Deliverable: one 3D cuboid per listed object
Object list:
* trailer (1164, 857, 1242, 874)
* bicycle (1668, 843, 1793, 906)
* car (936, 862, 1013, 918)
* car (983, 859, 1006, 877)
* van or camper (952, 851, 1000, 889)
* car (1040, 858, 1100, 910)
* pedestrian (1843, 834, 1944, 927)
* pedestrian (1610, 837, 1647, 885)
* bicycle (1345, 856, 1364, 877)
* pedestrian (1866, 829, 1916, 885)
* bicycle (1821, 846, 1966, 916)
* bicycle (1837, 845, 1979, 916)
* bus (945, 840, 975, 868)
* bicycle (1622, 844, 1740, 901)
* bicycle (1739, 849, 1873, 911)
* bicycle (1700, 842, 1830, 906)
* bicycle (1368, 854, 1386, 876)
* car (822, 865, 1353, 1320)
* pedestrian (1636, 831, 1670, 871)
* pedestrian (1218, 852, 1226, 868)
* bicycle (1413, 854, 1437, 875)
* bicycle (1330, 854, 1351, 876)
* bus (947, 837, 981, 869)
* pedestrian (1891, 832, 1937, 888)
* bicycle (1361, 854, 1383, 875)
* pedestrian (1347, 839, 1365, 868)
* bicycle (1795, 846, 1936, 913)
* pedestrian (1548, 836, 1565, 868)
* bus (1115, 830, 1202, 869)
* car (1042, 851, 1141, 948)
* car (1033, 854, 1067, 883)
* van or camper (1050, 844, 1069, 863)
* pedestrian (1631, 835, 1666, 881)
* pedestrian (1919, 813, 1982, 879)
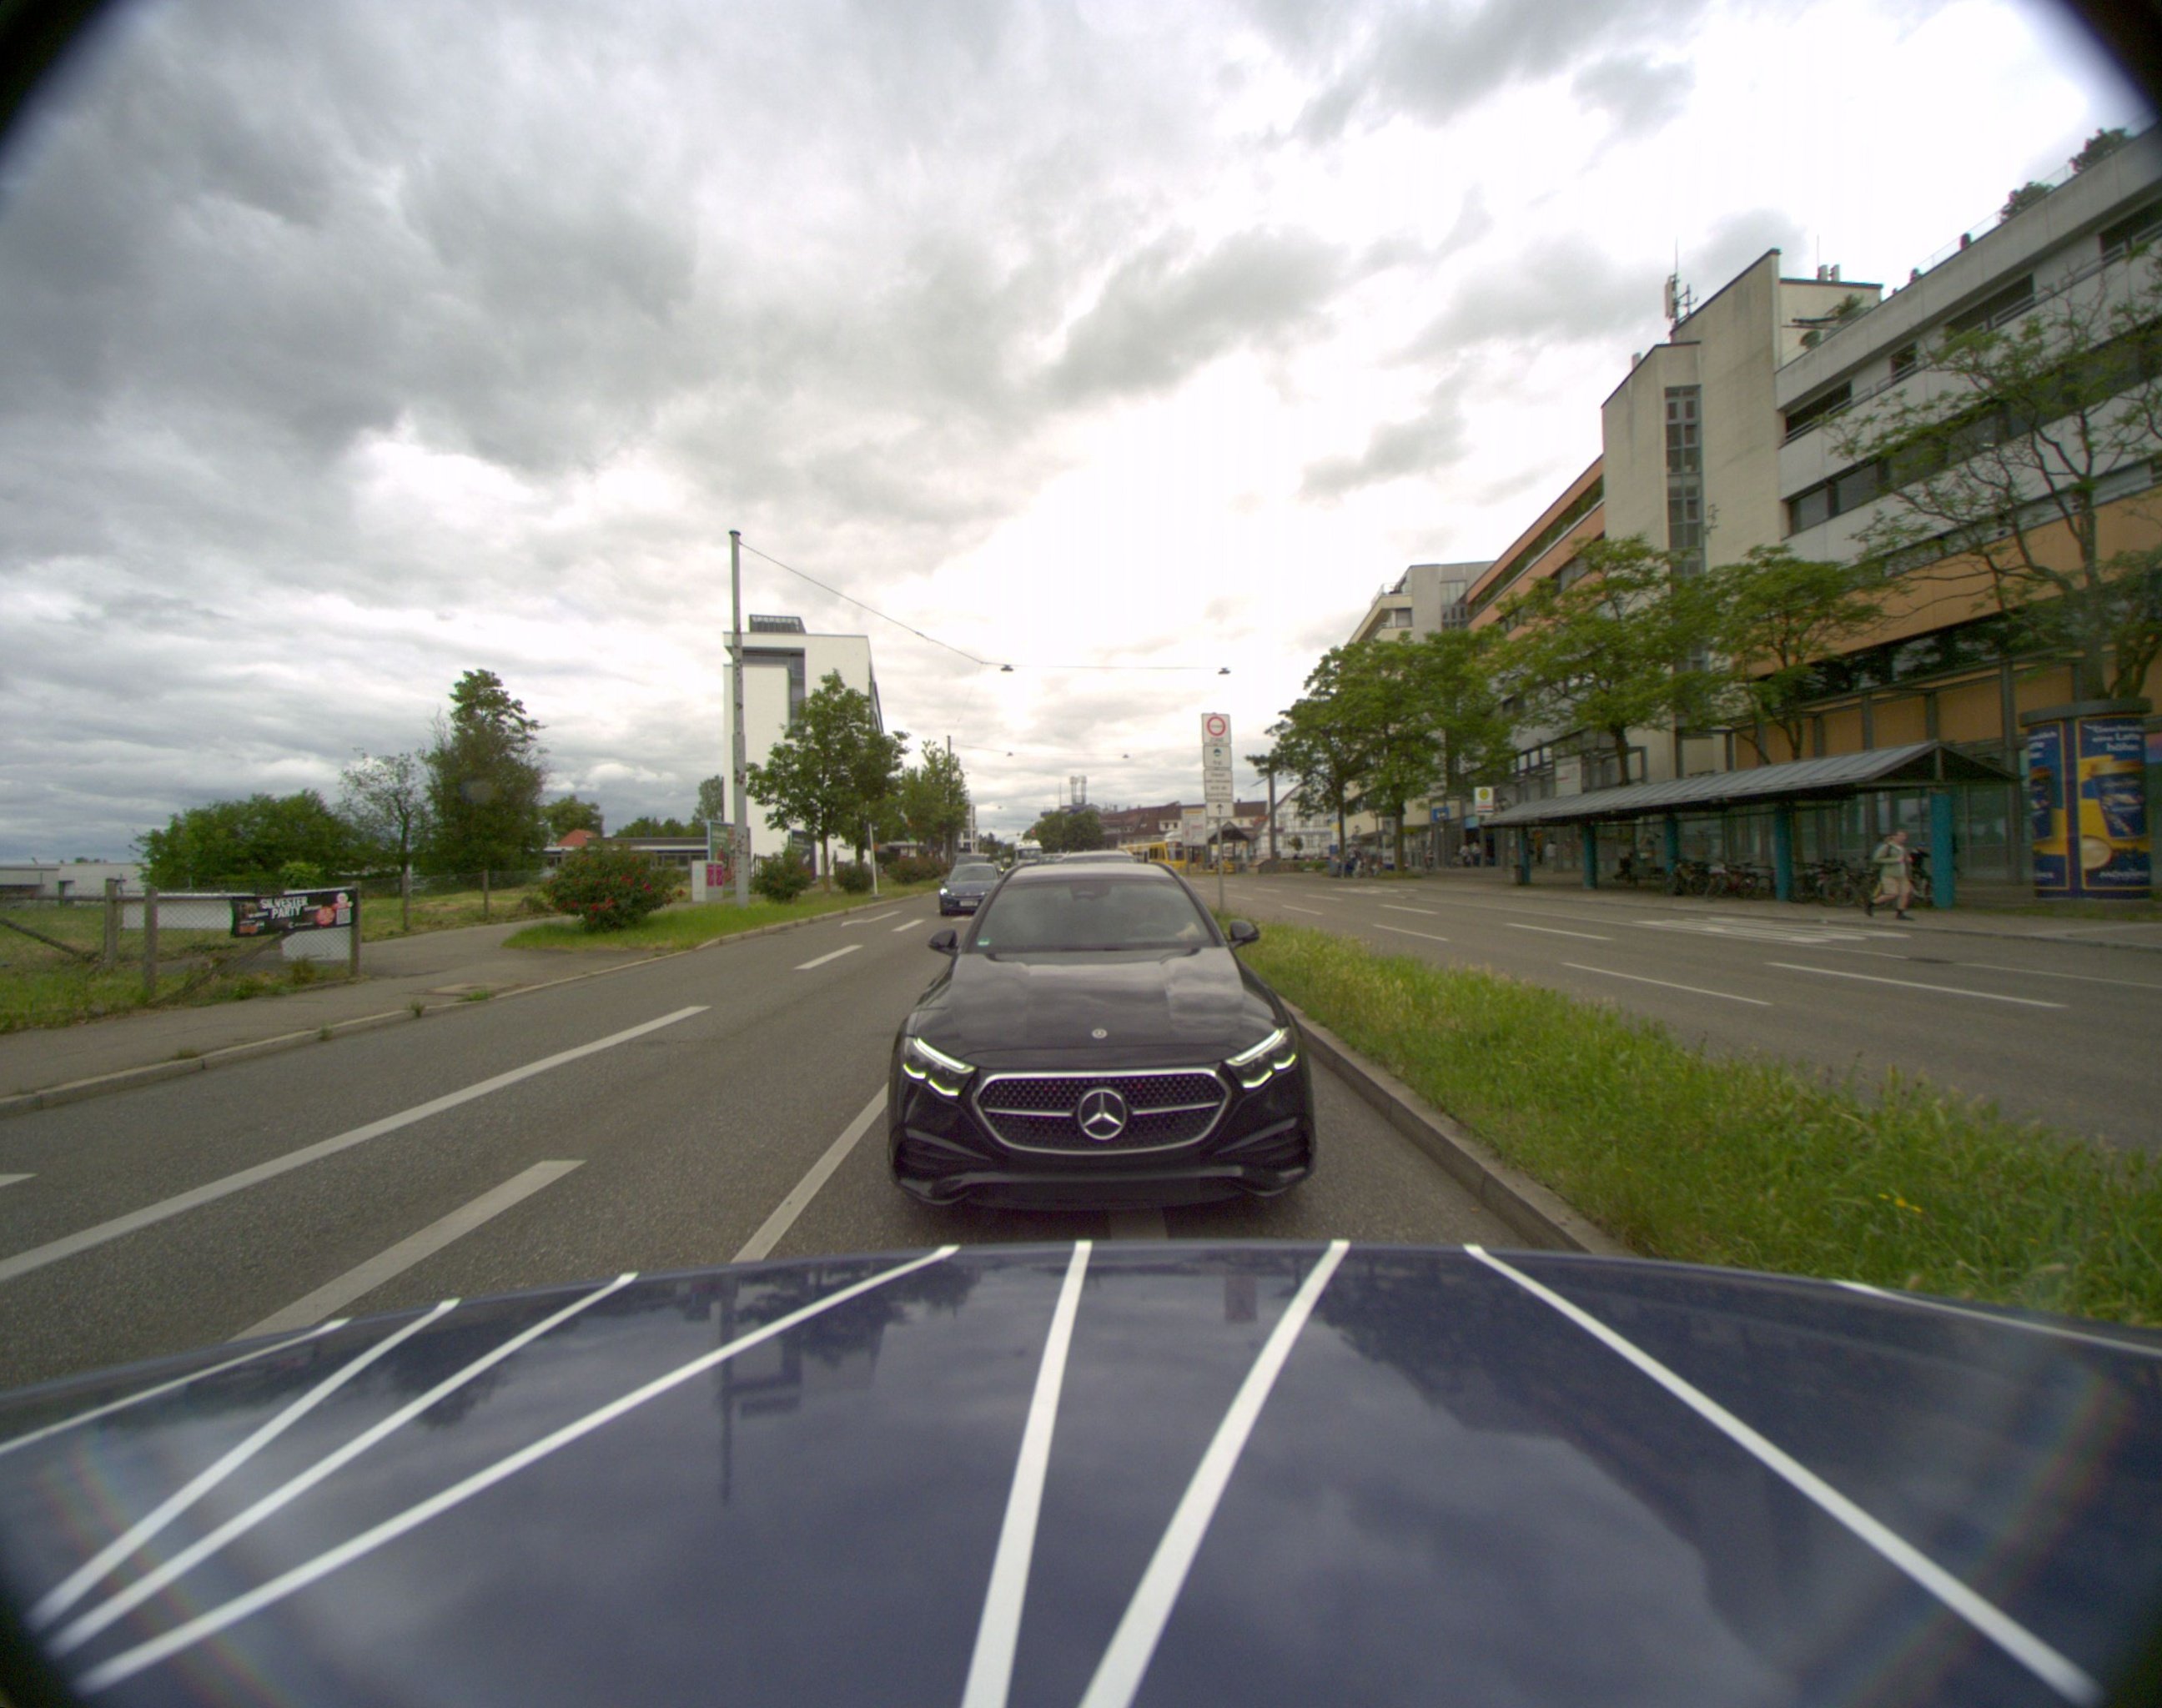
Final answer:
[{"bbox_3d":[10.804,1.061,68.880,2.851,1.325,12.115,-1,-1,-12],"label":"trailer"},{"bbox_3d":[18.008,0.547,21.087,2.908,1.498,0.891,-4,1,-8],"label":"bicycle"},{"bbox_3d":[-3.133,1.019,23.166,1.735,1.474,4.368,-2,0,-1],"label":"car"},{"bbox_3d":[-7.568,1.214,66.027,1.736,1.474,4.365,-2,0,-9],"label":"car"},{"bbox_3d":[-5.479,0.807,40.195,1.809,1.867,4.849,-2,0,0],"label":"van or camper"},{"bbox_3d":[-0.317,0.903,24.751,1.735,1.474,4.369,-2,0,0],"label":"car"},{"bbox_3d":[16.668,0.523,15.626,0.705,1.812,1.213,-3,1,-3],"label":"pedestrian"},{"bbox_3d":[20.035,0.256,27.812,0.777,1.703,0.706,-3,1,-6],"label":"pedestrian"},{"bbox_3d":[15.342,0.670,42.613,0.603,1.154,1.969,-1,-1,32],"label":"bicycle"},{"bbox_3d":[23.805,0.080,22.341,0.668,1.574,0.706,-3,1,-6],"label":"pedestrian"},{"bbox_3d":[18.561,0.598,17.366,2.908,1.498,0.700,-1,0,-8],"label":"bicycle"},{"bbox_3d":[18.596,0.578,17.089,2.908,1.498,0.598,-1,0,-8],"label":"bicycle"},{"bbox_3d":[-14.608,0.081,90.900,3.047,3.216,9.329,-1,-1,-12],"label":"bus"},{"bbox_3d":[17.783,0.530,22.551,2.908,1.498,0.972,-3,0,-8],"label":"bicycle"},{"bbox_3d":[18.313,0.642,19.219,2.908,1.498,0.805,-1,0,-8],"label":"bicycle"},{"bbox_3d":[18.134,0.507,20.170,2.908,1.498,0.811,-3,0,-7],"label":"bicycle"},{"bbox_3d":[16.169,0.593,41.522,0.603,1.154,1.693,-1,-1,31],"label":"bicycle"},{"bbox_3d":[-0.032,0.910,5.214,1.873,1.542,4.773,-4,-1,-2],"label":"car"},{"bbox_3d":[25.230,-0.117,33.522,0.772,1.706,0.789,-3,1,-8],"label":"pedestrian"},{"bbox_3d":[13.817,0.633,74.448,0.601,1.564,0.620,-1,0,-10],"label":"pedestrian"},{"bbox_3d":[19.161,0.563,42.276,0.672,1.154,2.023,-1,-1,39],"label":"bicycle"},{"bbox_3d":[14.800,0.634,43.311,0.603,1.154,1.969,-3,-1,33],"label":"bicycle"},{"bbox_3d":[-12.674,-0.055,81.624,2.993,3.222,9.856,-1,0,-12],"label":"bus"},{"bbox_3d":[24.459,0.161,22.322,0.634,1.591,0.622,-3,0,-5],"label":"pedestrian"},{"bbox_3d":[16.452,0.612,42.962,0.604,1.154,1.966,-1,-1,4],"label":"bicycle"},{"bbox_3d":[18.314,-0.034,50.622,0.747,1.866,0.873,-1,0,-8],"label":"pedestrian"},{"bbox_3d":[18.756,0.591,18.179,2.908,1.498,0.778,-1,0,-8],"label":"bicycle"},{"bbox_3d":[24.065,-0.102,38.451,0.633,1.591,0.624,-3,1,29],"label":"pedestrian"},{"bbox_3d":[8.112,-0.299,84.448,3.891,3.836,19.323,-1,-1,-12],"label":"bus"},{"bbox_3d":[0.199,0.816,15.800,1.735,1.680,4.369,-2,0,0],"label":"car"},{"bbox_3d":[-1.750,0.829,44.590,1.735,1.544,4.369,-2,0,0],"label":"car"},{"bbox_3d":[-3.011,-0.006,104.376,2.039,2.582,6.112,1,-1,-7],"label":"van or camper"},{"bbox_3d":[21.762,0.146,29.145,0.774,1.706,0.787,-3,1,17],"label":"pedestrian"},{"bbox_3d":[26.958,-0.240,23.577,0.899,2.002,0.934,-1,1,-5],"label":"pedestrian"}]
